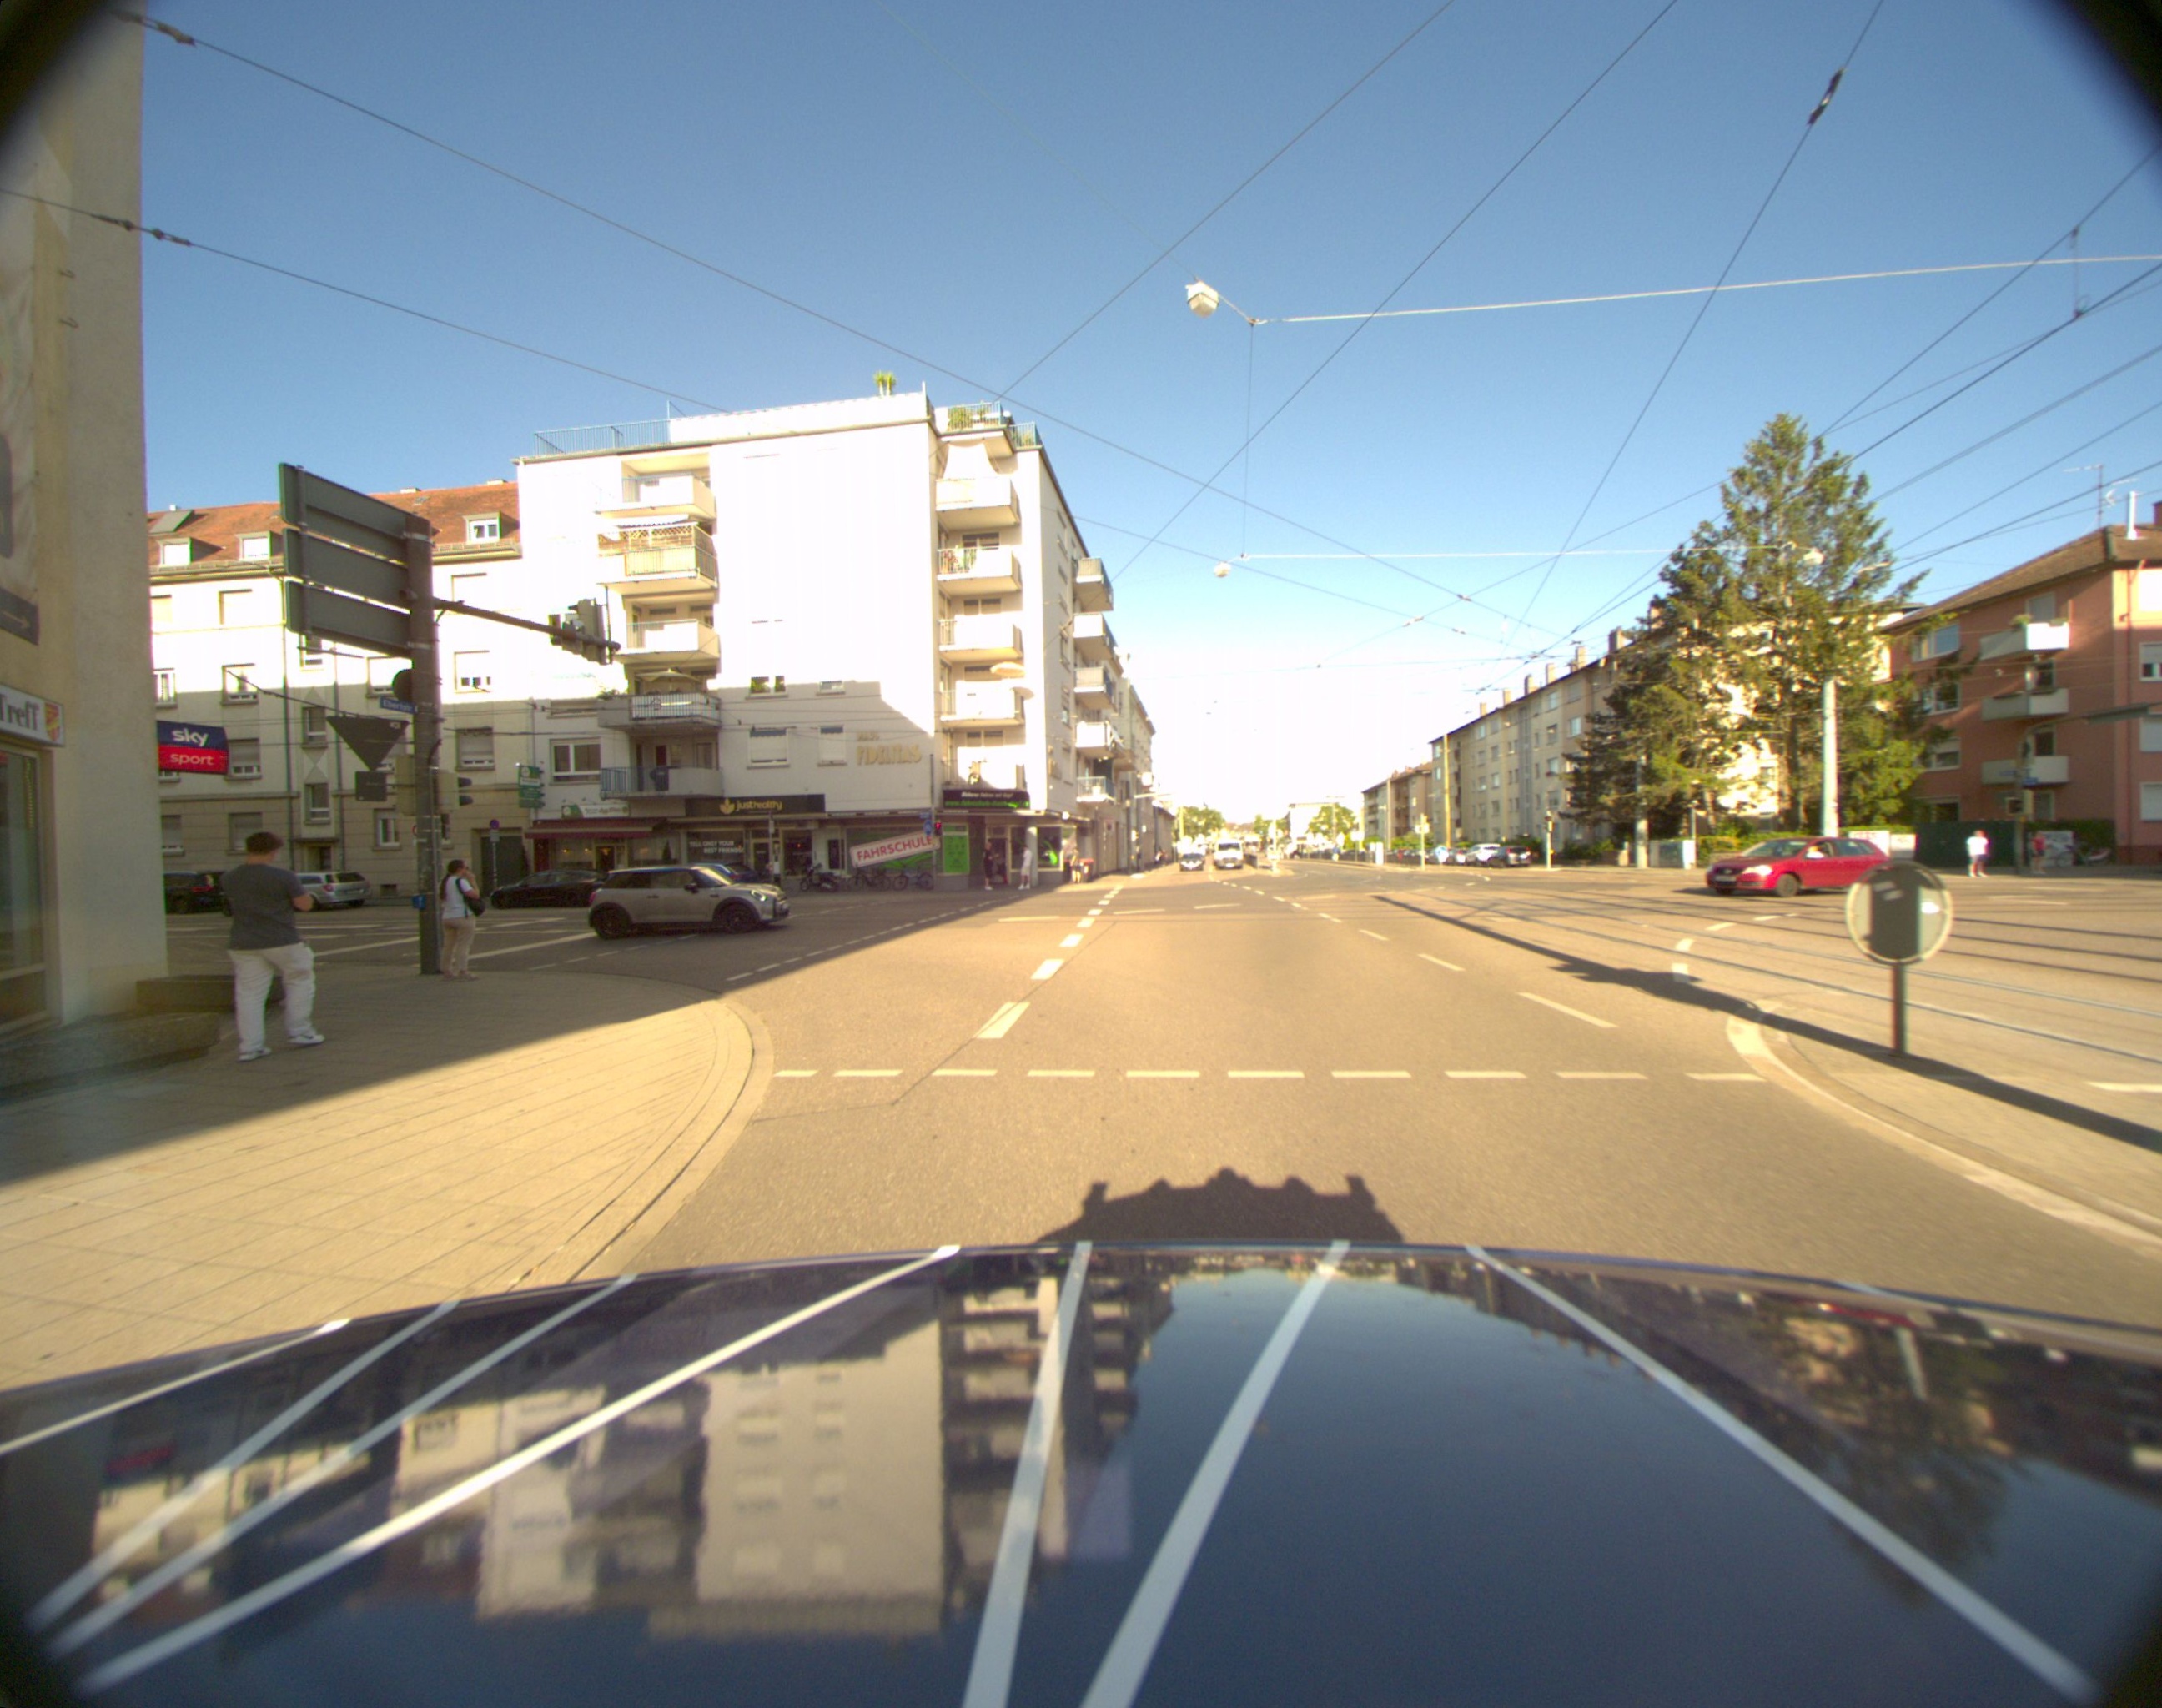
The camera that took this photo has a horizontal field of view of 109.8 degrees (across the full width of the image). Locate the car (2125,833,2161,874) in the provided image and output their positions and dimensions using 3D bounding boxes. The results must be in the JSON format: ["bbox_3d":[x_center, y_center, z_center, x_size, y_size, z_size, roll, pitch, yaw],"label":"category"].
[{"bbox_3d":[40.287,0.039,26.464,4.435,1.424,2.161,1,3,6],"label":"car"}]

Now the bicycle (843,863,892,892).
[{"bbox_3d":[-8.579,0.943,30.572,1.794,1.082,0.609,-1,3,7],"label":"bicycle"}]

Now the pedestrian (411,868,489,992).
[{"bbox_3d":[-8.596,1.010,10.356,0.731,1.613,0.542,0,-3,33],"label":"pedestrian"}]

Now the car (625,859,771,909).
[{"bbox_3d":[-13.532,1.029,26.989,4.233,1.495,1.774,-2,3,5],"label":"car"}]

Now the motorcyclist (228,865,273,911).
[{"bbox_3d":[-27.823,1.122,25.462,0.684,1.488,0.695,-2,1,3],"label":"motorcyclist"}]

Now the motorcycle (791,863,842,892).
[{"bbox_3d":[-10.613,0.950,30.512,1.794,1.128,0.609,-1,3,7],"label":"motorcycle"}]

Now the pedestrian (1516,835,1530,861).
[{"bbox_3d":[32.791,-0.428,56.361,0.699,1.876,0.781,0,3,12],"label":"pedestrian"}]

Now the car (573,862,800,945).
[{"bbox_3d":[-8.185,0.995,16.064,3.815,1.417,1.727,-2,3,-5],"label":"car"}]

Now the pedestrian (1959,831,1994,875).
[{"bbox_3d":[32.306,-0.027,27.426,0.573,1.560,0.518,-1,3,8],"label":"pedestrian"}]

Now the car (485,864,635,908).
[{"bbox_3d":[-19.110,1.156,27.936,4.439,1.467,1.775,-1,3,8],"label":"car"}]

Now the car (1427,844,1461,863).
[{"bbox_3d":[32.581,-0.082,68.276,1.659,1.549,3.789,0,3,9],"label":"car"}]

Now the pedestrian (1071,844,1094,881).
[{"bbox_3d":[0.079,0.392,35.189,0.702,1.642,0.758,3,-1,-31],"label":"pedestrian"}]

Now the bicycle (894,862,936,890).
[{"bbox_3d":[-6.678,0.893,30.561,1.536,1.100,0.553,0,3,9],"label":"bicycle"}]

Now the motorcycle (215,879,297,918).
[{"bbox_3d":[-27.629,1.479,25.458,1.964,1.213,0.714,-2,1,3],"label":"motorcycle"}]

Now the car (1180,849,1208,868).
[{"bbox_3d":[8.689,0.310,58.420,1.881,1.405,3.933,0,0,12],"label":"car"}]

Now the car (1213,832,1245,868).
[{"bbox_3d":[11.399,-0.354,58.455,2.338,2.504,4.857,0,3,12],"label":"car"}]

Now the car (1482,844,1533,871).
[{"bbox_3d":[29.293,0.195,52.288,1.868,1.619,4.074,0,3,12],"label":"car"}]

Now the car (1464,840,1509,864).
[{"bbox_3d":[30.577,-0.194,57.392,1.770,1.589,4.034,0,3,9],"label":"car"}]

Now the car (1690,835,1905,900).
[{"bbox_3d":[17.598,0.304,18.774,3.827,1.477,1.783,-1,1,-5],"label":"car"}]

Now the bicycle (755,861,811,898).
[{"bbox_3d":[-10.999,0.949,28.050,1.794,1.307,0.609,-1,3,7],"label":"bicycle"}]

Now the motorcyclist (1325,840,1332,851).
[{"bbox_3d":[35.341,-1.193,108.492,0.856,1.480,0.729,0,3,13],"label":"motorcyclist"}]

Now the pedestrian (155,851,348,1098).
[{"bbox_3d":[-6.441,0.851,5.971,0.689,1.732,1.039,0,1,-28],"label":"pedestrian"}]

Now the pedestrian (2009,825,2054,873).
[{"bbox_3d":[34.385,-0.202,27.488,0.705,1.712,0.782,-2,3,-20],"label":"pedestrian"}]

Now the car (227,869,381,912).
[{"bbox_3d":[-29.911,1.395,29.322,4.365,1.447,1.730,-1,4,6],"label":"car"}]

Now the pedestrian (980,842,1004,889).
[{"bbox_3d":[-3.628,0.452,30.901,0.737,1.889,0.576,2,3,25],"label":"pedestrian"}]

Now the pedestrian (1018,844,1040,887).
[{"bbox_3d":[-2.175,0.475,31.692,0.660,1.782,0.738,-1,1,14],"label":"pedestrian"}]

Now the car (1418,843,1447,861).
[{"bbox_3d":[33.522,-0.232,72.609,1.558,1.518,3.647,0,3,9],"label":"car"}]

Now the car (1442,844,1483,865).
[{"bbox_3d":[31.287,0.012,62.428,1.832,1.470,4.033,-1,3,7],"label":"car"}]

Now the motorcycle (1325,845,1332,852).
[{"bbox_3d":[35.342,-0.794,108.502,0.856,1.041,1.943,0,3,13],"label":"motorcycle"}]
